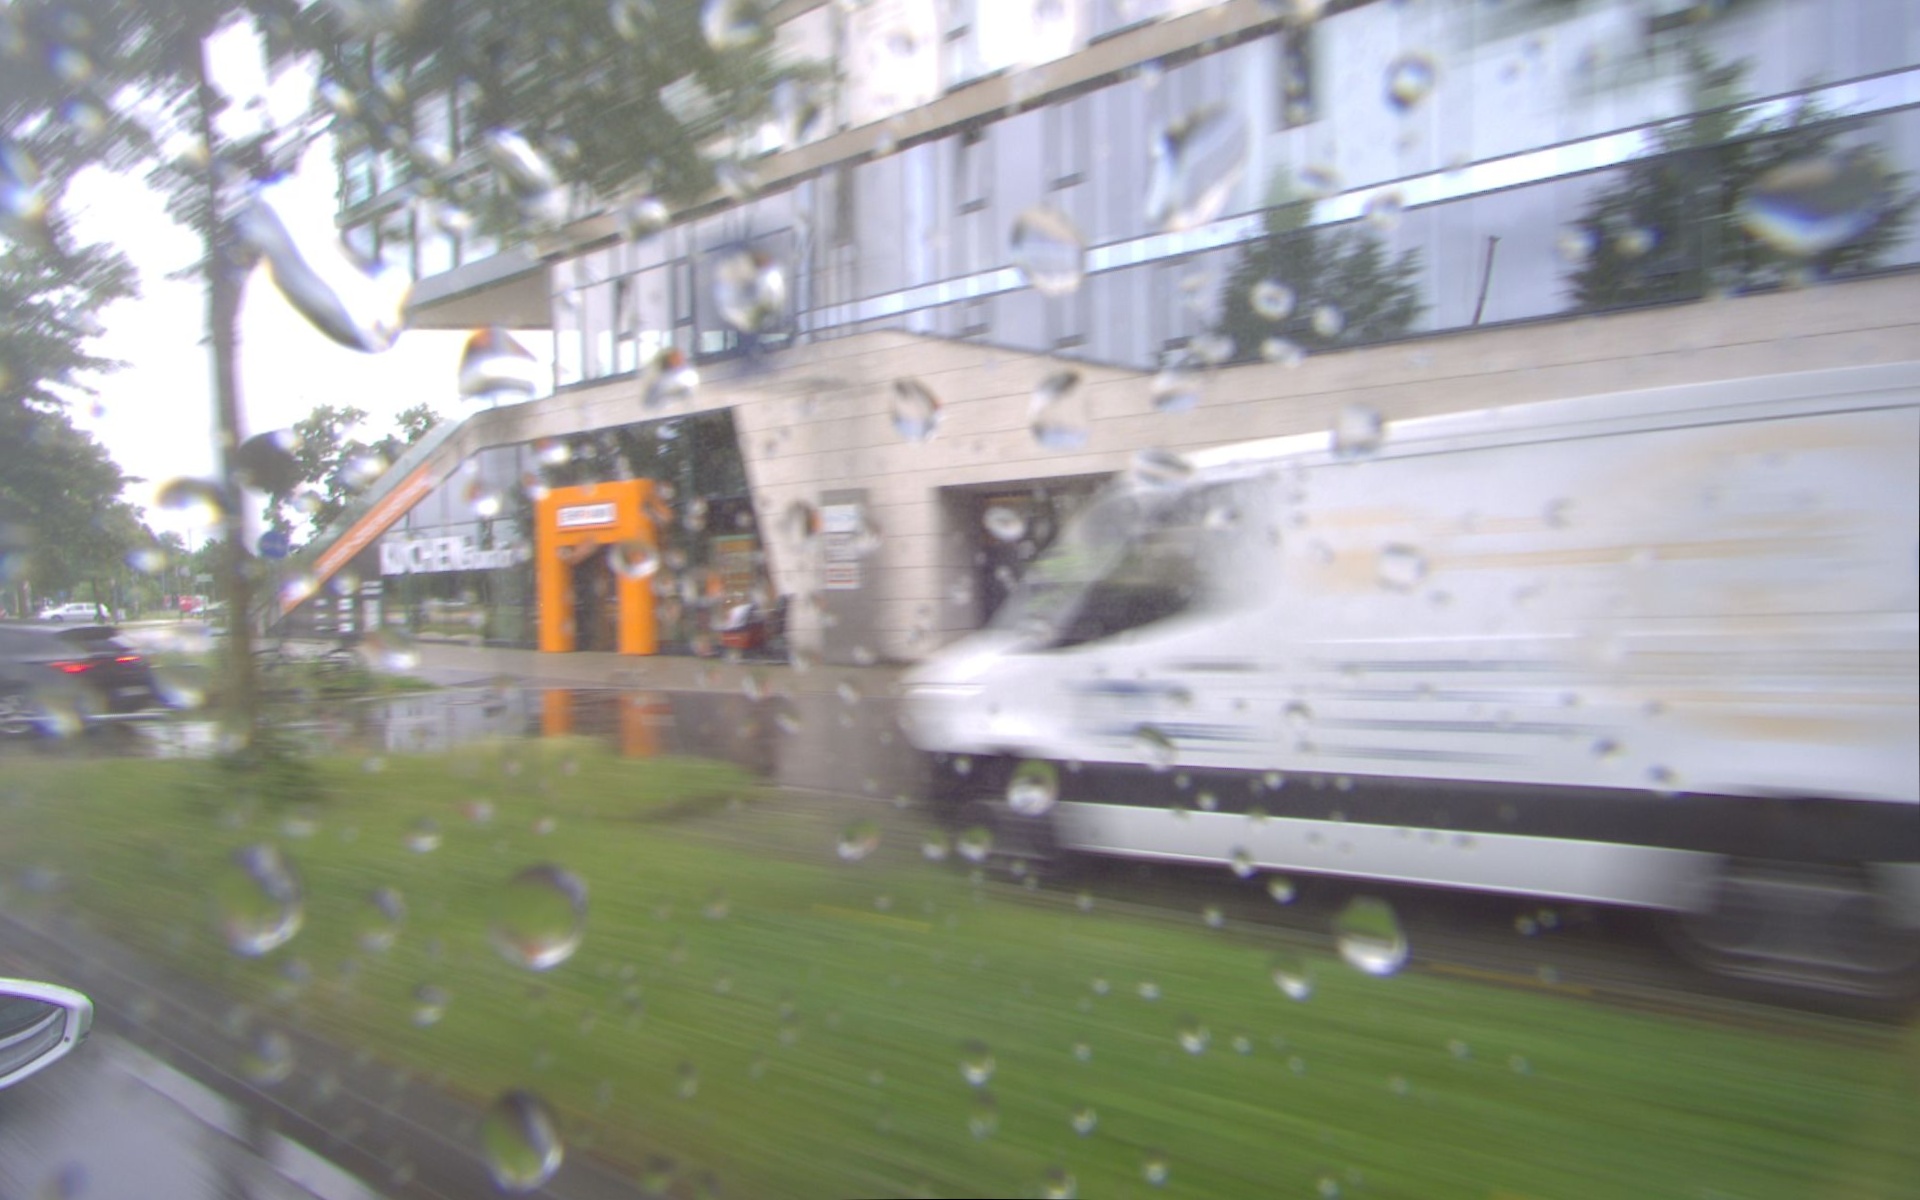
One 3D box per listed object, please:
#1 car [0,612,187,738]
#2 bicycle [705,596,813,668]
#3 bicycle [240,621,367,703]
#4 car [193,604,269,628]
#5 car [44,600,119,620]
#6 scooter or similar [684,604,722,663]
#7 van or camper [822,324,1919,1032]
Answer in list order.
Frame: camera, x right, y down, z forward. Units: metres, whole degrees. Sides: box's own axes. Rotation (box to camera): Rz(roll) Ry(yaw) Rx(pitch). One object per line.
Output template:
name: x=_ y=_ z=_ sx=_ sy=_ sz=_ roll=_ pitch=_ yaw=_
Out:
car: x=-12.583 y=0.889 z=12.500 sx=4.263 sy=1.439 sz=1.831 roll=0 pitch=1 yaw=-8
bicycle: x=-4.183 y=0.641 z=20.775 sx=2.392 sy=1.420 sz=0.731 roll=0 pitch=-1 yaw=35
bicycle: x=-11.401 y=1.047 z=17.452 sx=1.822 sy=1.364 sz=0.529 roll=0 pitch=1 yaw=-31
car: x=-60.956 y=1.327 z=83.838 sx=1.969 sy=1.876 sz=4.755 roll=0 pitch=0 yaw=28
car: x=-66.396 y=0.758 z=75.709 sx=1.601 sy=1.473 sz=3.964 roll=0 pitch=0 yaw=34
scooter or similar: x=-5.632 y=0.718 z=21.921 sx=0.338 sy=1.244 sz=1.231 roll=1 pitch=0 yaw=-37
van or camper: x=1.997 y=0.298 z=5.240 sx=5.383 sy=2.322 sz=2.021 roll=-1 pitch=0 yaw=33
